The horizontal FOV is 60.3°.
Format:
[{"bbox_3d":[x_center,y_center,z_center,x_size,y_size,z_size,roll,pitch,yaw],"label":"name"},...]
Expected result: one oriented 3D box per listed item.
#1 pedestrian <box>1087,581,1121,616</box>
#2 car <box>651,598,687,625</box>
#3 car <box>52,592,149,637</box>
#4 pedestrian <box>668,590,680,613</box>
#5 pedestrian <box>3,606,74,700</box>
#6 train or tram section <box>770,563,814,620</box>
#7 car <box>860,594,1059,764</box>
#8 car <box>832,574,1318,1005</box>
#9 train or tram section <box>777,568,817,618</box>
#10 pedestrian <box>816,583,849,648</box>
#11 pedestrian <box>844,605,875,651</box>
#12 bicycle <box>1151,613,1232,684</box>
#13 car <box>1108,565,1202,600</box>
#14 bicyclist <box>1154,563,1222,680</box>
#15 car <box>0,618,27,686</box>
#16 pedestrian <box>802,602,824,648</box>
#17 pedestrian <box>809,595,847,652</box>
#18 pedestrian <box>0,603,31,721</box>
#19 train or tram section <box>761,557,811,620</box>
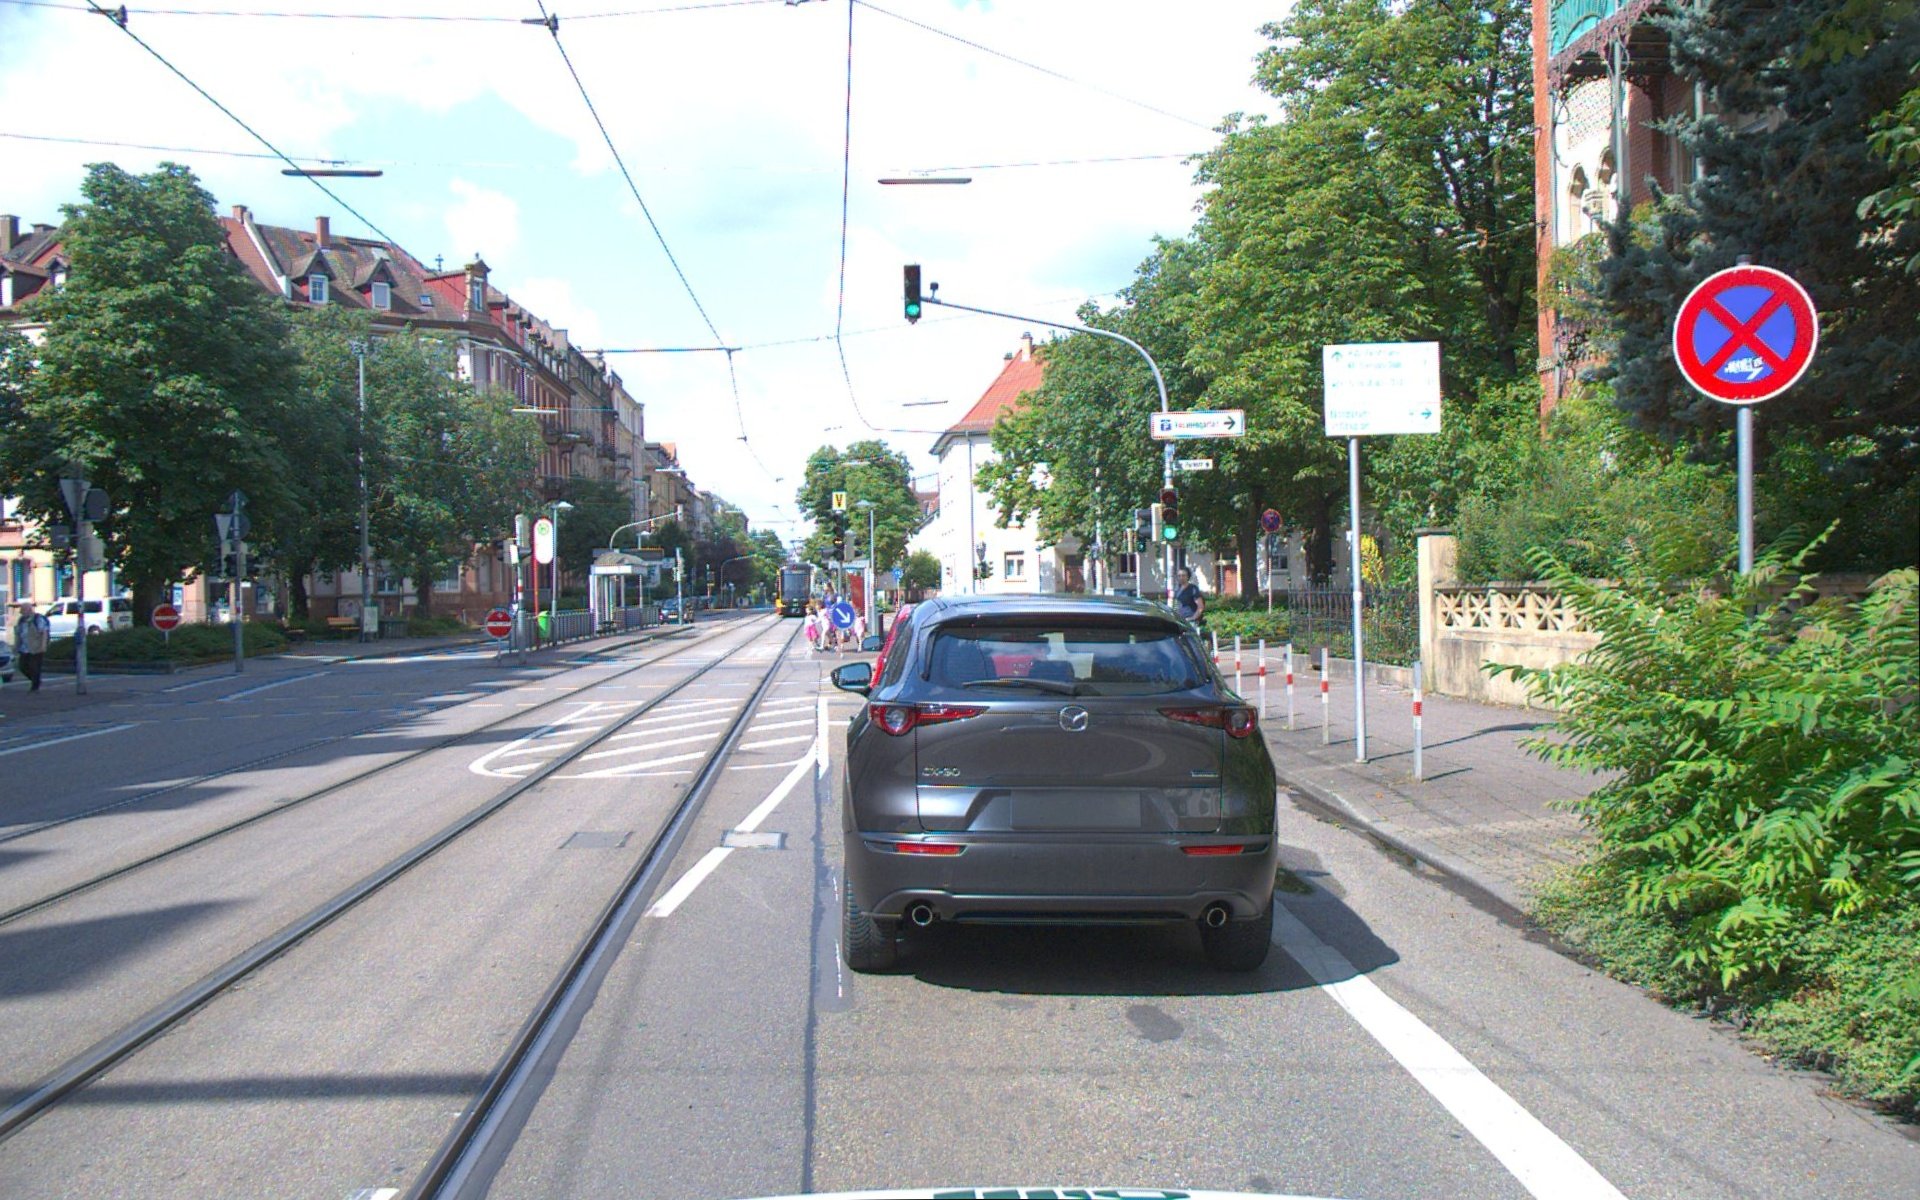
[{"bbox_3d":[5.724,-0.057,65.827,1.170,1.291,0.556,-3,0,-10],"label":"pedestrian"},{"bbox_3d":[-16.536,0.662,94.062,1.592,1.411,3.434,-3,1,-4],"label":"car"},{"bbox_3d":[-39.956,0.659,76.903,3.853,2.023,1.857,-1,0,19],"label":"car"},{"bbox_3d":[-21.446,0.086,124.017,0.772,1.718,0.731,-1,0,-3],"label":"pedestrian"},{"bbox_3d":[-17.247,0.977,30.978,0.837,1.702,0.821,-1,0,-3],"label":"pedestrian"},{"bbox_3d":[-12.845,-0.542,127.674,2.939,4.053,13.795,-1,-1,-4],"label":"train or tram section"},{"bbox_3d":[-0.053,0.689,16.448,1.739,1.489,3.841,0,0,-2],"label":"car"},{"bbox_3d":[0.404,0.693,8.008,1.746,1.540,3.999,1,0,-1],"label":"car"},{"bbox_3d":[-13.861,-0.500,141.374,2.939,4.053,13.795,-1,-1,-4],"label":"train or tram section"},{"bbox_3d":[-3.201,0.388,41.514,0.714,1.593,0.797,-1,0,-9],"label":"pedestrian"},{"bbox_3d":[-2.519,0.695,41.540,0.636,1.133,0.438,-1,0,-37],"label":"pedestrian"},{"bbox_3d":[3.788,0.779,27.009,0.382,1.053,1.836,-1,1,39],"label":"bicycle"},{"bbox_3d":[9.285,-0.818,79.050,4.090,1.536,1.844,-1,2,38],"label":"car"},{"bbox_3d":[3.707,0.339,26.890,0.724,1.851,0.813,-1,0,-27],"label":"bicyclist"},{"bbox_3d":[-22.389,1.168,36.641,3.800,1.445,1.713,-1,0,39],"label":"car"},{"bbox_3d":[-3.713,0.637,41.809,0.430,1.127,0.422,-3,0,-14],"label":"pedestrian"},{"bbox_3d":[-3.244,0.568,40.661,0.810,1.326,0.716,-3,0,-9],"label":"pedestrian"},{"bbox_3d":[-14.617,0.914,24.890,0.741,1.734,0.873,3,0,-5],"label":"pedestrian"},{"bbox_3d":[-11.848,-0.673,113.891,2.939,4.053,13.795,-1,-1,-4],"label":"train or tram section"}]
